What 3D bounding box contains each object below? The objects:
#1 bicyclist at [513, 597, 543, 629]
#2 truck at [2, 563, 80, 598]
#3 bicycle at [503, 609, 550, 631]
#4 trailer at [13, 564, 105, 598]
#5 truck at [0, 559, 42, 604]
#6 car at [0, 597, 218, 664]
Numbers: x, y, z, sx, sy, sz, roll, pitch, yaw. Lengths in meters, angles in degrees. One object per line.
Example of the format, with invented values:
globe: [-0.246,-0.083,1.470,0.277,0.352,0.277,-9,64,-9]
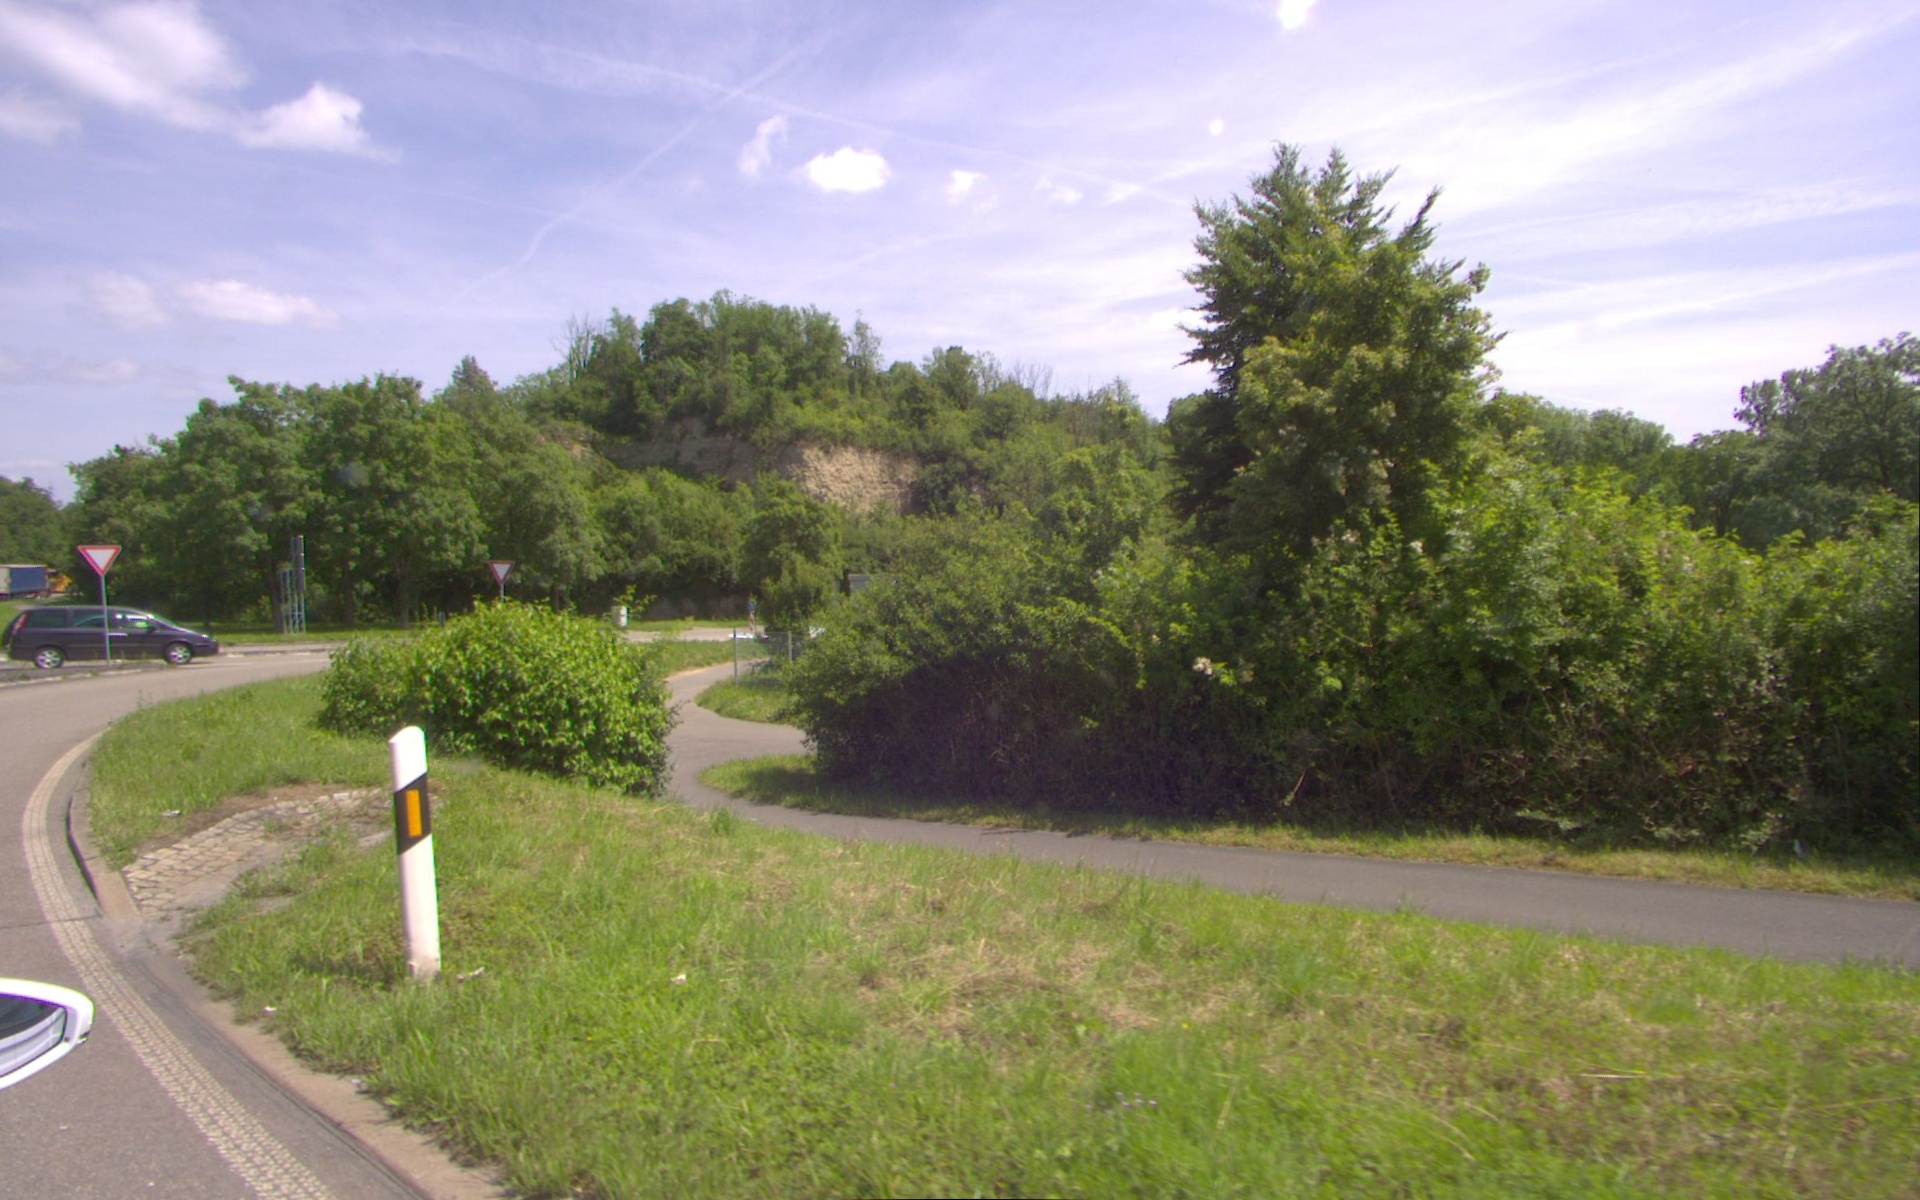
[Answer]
bicyclist: [-20.451,0.616,47.407,0.784,1.466,1.004,-2,-2,30]
truck: [-125.224,-2.577,136.719,4.953,4.420,11.707,0,0,-28]
bicycle: [-20.476,0.973,47.338,0.785,1.008,1.987,-2,-3,30]
trailer: [-129.209,-2.573,144.176,4.953,4.420,20.736,0,0,-28]
truck: [-108.038,-2.001,114.125,3.148,4.078,11.681,1,-4,-33]
car: [-24.553,0.891,28.951,4.888,1.807,1.984,1,-3,-40]
